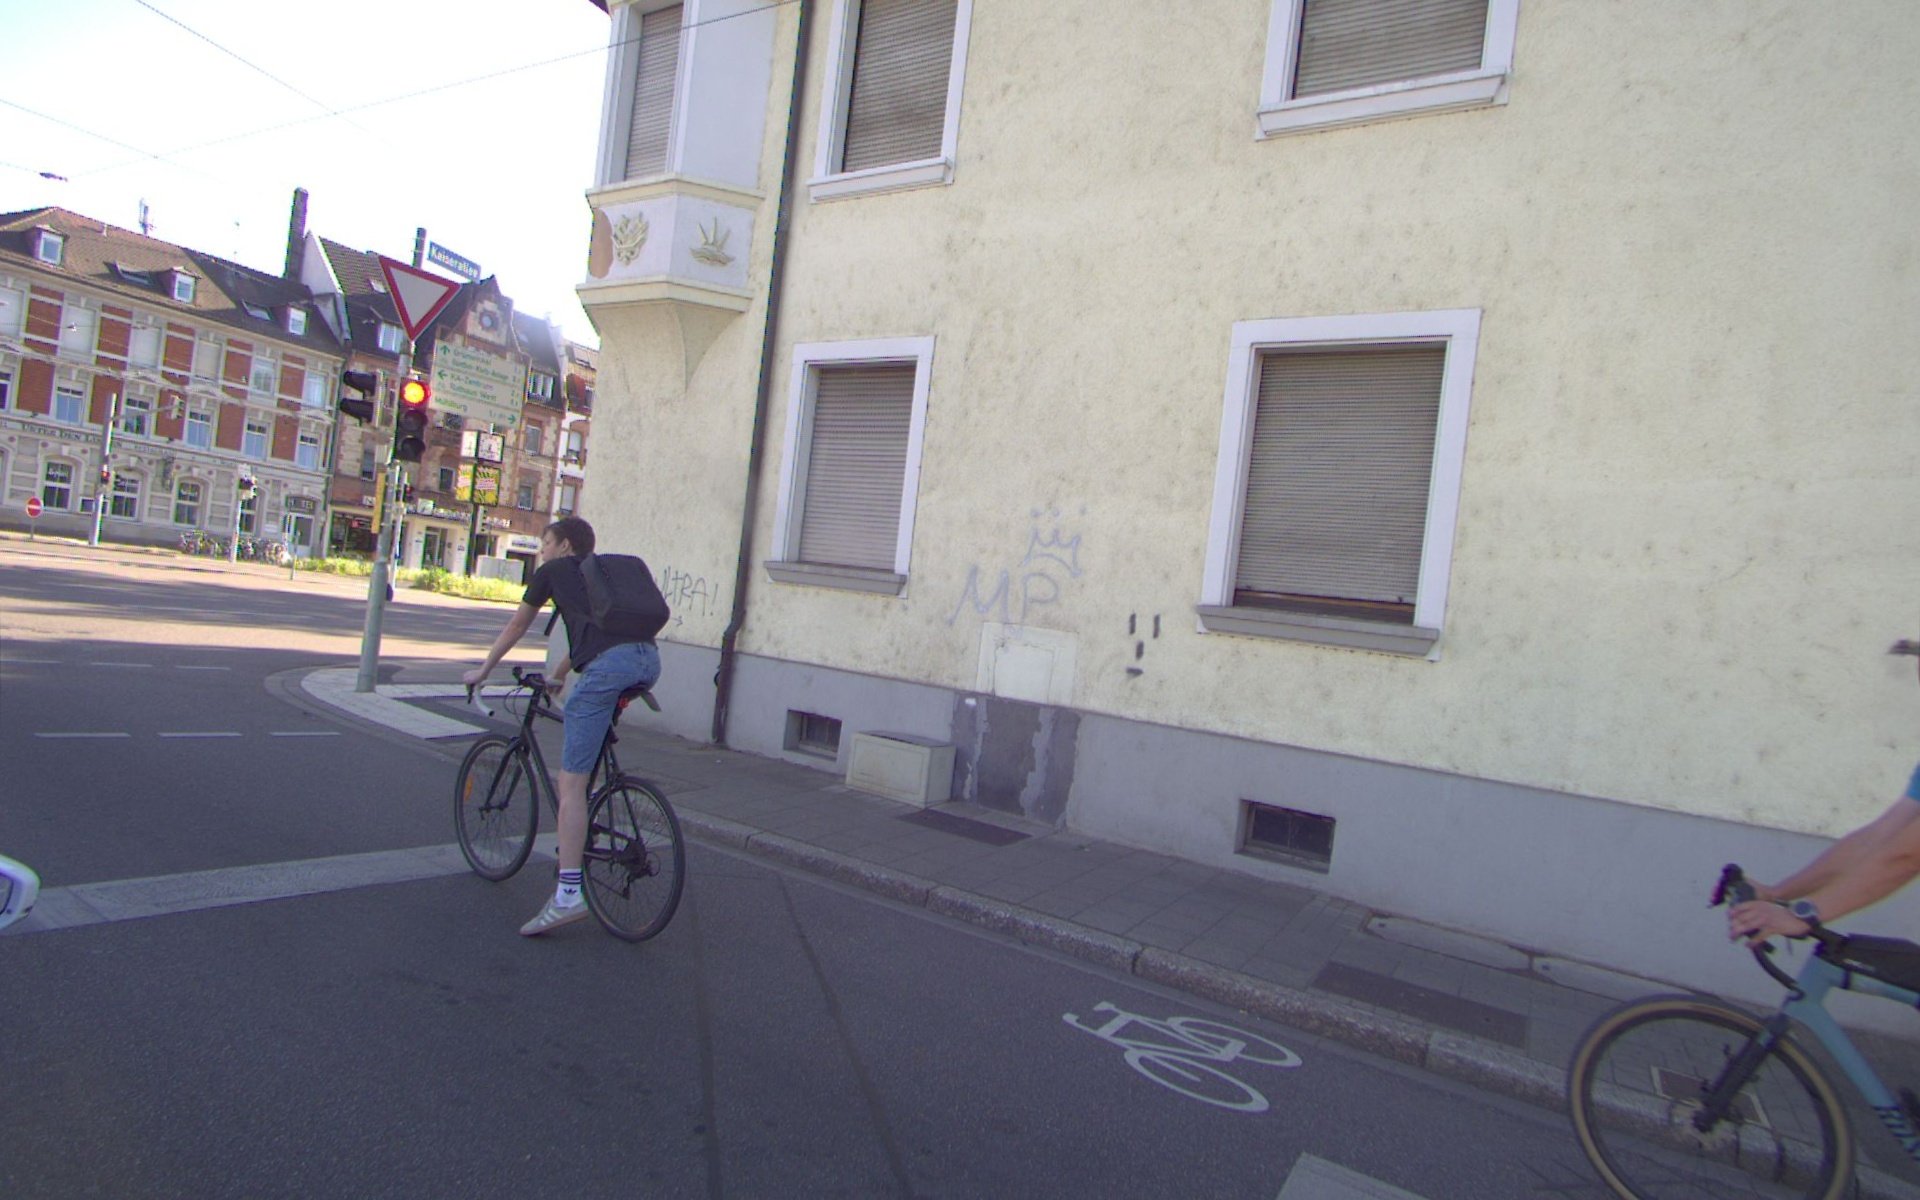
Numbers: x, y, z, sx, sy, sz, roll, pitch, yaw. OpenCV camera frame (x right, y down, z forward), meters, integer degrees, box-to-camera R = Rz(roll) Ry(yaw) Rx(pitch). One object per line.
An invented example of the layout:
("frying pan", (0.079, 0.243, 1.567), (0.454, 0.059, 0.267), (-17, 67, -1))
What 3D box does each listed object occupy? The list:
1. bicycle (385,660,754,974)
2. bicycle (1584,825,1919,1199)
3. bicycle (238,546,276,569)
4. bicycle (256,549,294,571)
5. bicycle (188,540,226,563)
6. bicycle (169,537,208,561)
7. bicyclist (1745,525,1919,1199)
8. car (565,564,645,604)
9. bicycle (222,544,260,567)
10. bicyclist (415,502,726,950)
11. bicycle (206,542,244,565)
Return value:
("bicycle", (-1.792, 0.876, 4.507), (1.721, 0.982, 0.519), (7, 0, 32))
("bicycle", (2.738, 1.379, 2.602), (1.767, 1.104, 0.518), (9, 1, 35))
("bicycle", (-33.491, -2.022, 47.894), (2.125, 0.850, 0.659), (6, -2, 33))
("bicycle", (-33.103, -1.943, 48.599), (2.125, 0.850, 0.659), (6, -2, 33))
("bicycle", (-34.554, -2.232, 46.146), (2.125, 0.850, 0.659), (6, -2, 33))
("bicycle", (-34.870, -2.300, 45.479), (2.125, 0.850, 0.659), (6, -2, 33))
("bicyclist", (2.810, 0.861, 2.595), (0.930, 1.958, 0.518), (10, 2, 35))
("car", (-23.012, -1.001, 65.325), (1.968, 2.038, 4.430), (7, -1, 34))
("bicycle", (-33.846, -2.090, 47.364), (2.125, 0.850, 0.659), (6, -2, 33))
("bicyclist", (-1.744, 0.492, 4.487), (1.098, 1.722, 0.573), (7, 0, 32))
("bicycle", (-34.181, -2.158, 46.767), (2.125, 0.850, 0.659), (6, -2, 33))
